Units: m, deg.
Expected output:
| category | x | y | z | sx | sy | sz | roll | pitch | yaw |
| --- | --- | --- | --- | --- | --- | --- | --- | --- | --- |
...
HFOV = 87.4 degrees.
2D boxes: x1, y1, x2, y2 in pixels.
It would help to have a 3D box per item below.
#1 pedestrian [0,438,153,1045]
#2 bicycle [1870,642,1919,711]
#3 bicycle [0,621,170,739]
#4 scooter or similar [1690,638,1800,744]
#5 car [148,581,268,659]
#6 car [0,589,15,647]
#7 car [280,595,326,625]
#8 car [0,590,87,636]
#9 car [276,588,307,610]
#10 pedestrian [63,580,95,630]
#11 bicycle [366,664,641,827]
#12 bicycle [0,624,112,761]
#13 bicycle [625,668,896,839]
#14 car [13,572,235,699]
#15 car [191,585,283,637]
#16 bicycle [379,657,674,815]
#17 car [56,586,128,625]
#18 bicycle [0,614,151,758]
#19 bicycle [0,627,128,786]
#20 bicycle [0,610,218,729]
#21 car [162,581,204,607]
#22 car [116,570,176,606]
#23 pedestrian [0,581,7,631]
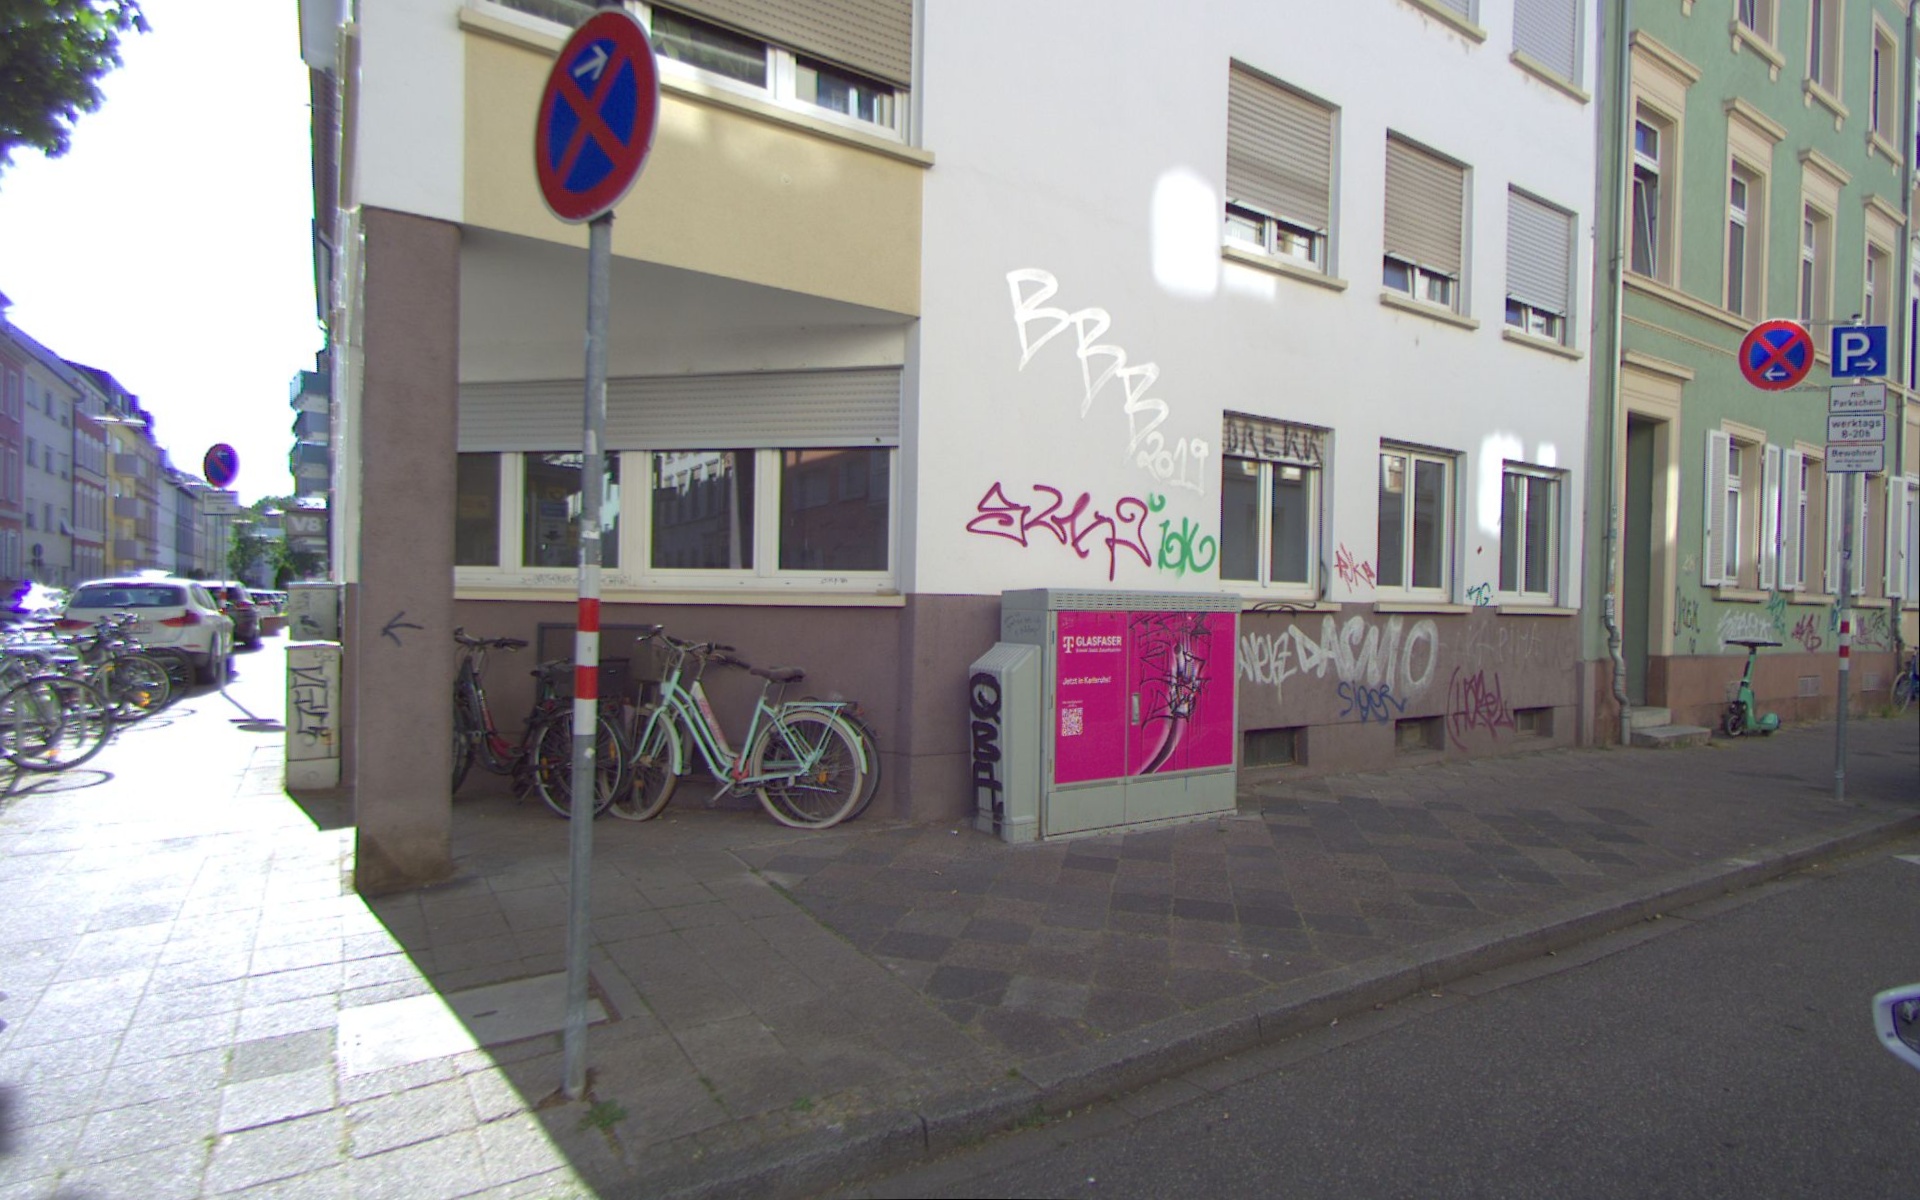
| category | x | y | z | sx | sy | sz | roll | pitch | yaw |
| --- | --- | --- | --- | --- | --- | --- | --- | --- | --- |
| pedestrian | -3.485 | 0.439 | 3.245 | 1.232 | 1.857 | 0.905 | -1 | 1 | -33 |
| bicycle | 15.226 | 1.221 | 15.980 | 1.890 | 1.042 | 0.360 | 2 | 0 | -24 |
| bicycle | -9.407 | 0.811 | 10.281 | 1.976 | 1.081 | 0.675 | -2 | 2 | -34 |
| scooter or similar | 9.484 | 1.080 | 12.117 | 1.671 | 1.197 | 0.451 | 2 | 0 | -30 |
| car | -18.254 | 0.419 | 24.566 | 1.843 | 1.715 | 4.206 | -1 | 1 | -30 |
| car | -27.602 | 0.500 | 27.387 | 1.807 | 1.655 | 3.908 | 0 | 0 | -30 |
| car | -34.093 | 0.503 | 52.218 | 1.680 | 1.543 | 3.737 | 0 | 0 | -28 |
| car | -33.280 | 0.441 | 36.337 | 1.807 | 1.566 | 4.017 | 1 | 0 | -30 |
| car | -53.249 | -0.092 | 80.034 | 1.807 | 1.712 | 4.168 | 0 | 0 | -30 |
| pedestrian | -36.113 | 0.206 | 41.178 | 0.856 | 2.040 | 0.851 | 2 | 0 | 42 |
| bicycle | -2.785 | 0.865 | 6.160 | 1.553 | 0.909 | 0.404 | 0 | -1 | 8 |
| bicycle | -8.223 | 0.765 | 7.978 | 2.157 | 1.043 | 0.636 | -2 | 2 | -31 |
| bicycle | -1.200 | 0.909 | 6.118 | 1.538 | 0.894 | 0.431 | 2 | 2 | 7 |
| car | -12.417 | 0.461 | 15.231 | 1.973 | 1.636 | 4.138 | 0 | 0 | -31 |
| car | -24.688 | 0.368 | 34.468 | 2.122 | 1.648 | 4.847 | 0 | 0 | -30 |
| bicycle | -2.835 | 0.868 | 6.585 | 1.825 | 0.925 | 0.383 | 1 | 0 | 8 |
| car | -38.077 | 0.240 | 44.151 | 1.650 | 1.607 | 3.844 | 1 | 0 | -30 |
| bicycle | -8.500 | 0.743 | 8.588 | 2.413 | 1.201 | 0.499 | -1 | 0 | -34 |
| bicycle | -7.311 | 0.772 | 7.189 | 2.041 | 1.116 | 0.479 | 0 | 1 | -34 |
| bicycle | -9.878 | 0.753 | 11.284 | 2.396 | 1.162 | 0.829 | -3 | 2 | -34 |
| car | -53.231 | -0.431 | 68.863 | 1.756 | 1.664 | 3.935 | 2 | -1 | -31 |
| car | -47.066 | -0.681 | 58.189 | 1.977 | 1.919 | 4.666 | 2 | -1 | -31 |
| pedestrian | -34.717 | 0.200 | 36.021 | 0.617 | 1.812 | 0.658 | 2 | 0 | -32 |
